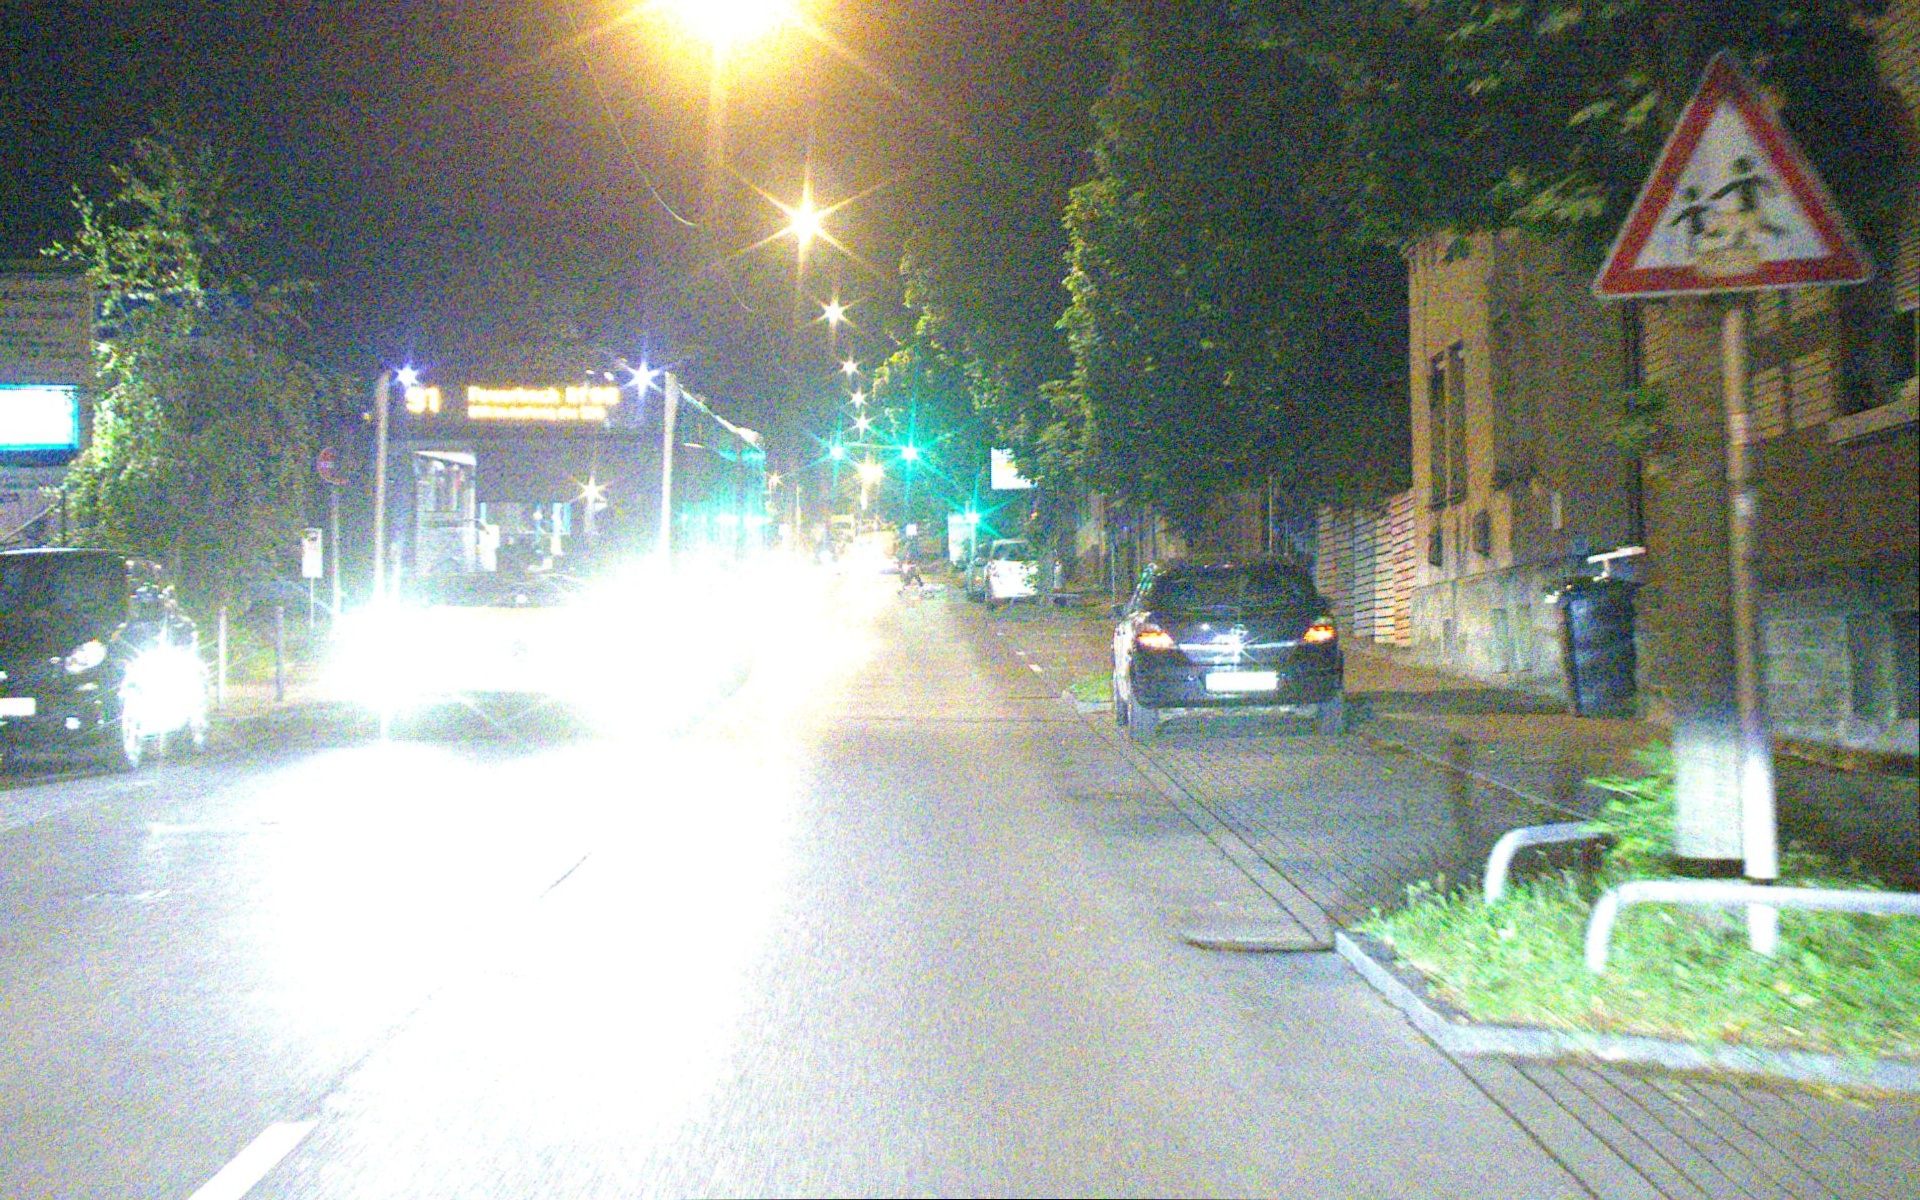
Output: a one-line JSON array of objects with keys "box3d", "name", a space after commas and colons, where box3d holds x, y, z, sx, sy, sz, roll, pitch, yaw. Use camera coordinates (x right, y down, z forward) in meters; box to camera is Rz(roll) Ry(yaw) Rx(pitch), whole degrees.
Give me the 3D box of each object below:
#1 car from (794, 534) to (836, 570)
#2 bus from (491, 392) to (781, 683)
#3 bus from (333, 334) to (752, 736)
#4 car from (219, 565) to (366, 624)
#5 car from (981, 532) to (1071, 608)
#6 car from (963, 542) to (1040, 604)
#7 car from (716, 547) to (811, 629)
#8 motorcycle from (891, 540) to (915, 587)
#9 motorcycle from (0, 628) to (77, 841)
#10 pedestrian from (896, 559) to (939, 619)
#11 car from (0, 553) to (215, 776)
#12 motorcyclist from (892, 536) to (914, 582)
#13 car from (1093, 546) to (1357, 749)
[{"box3d": [-7.088, -2.348, 168.391, 1.944, 1.711, 4.000, 0, 0, -1], "name": "car"}, {"box3d": [-3.764, -0.752, 41.623, 2.837, 3.166, 7.661, 0, 1, -1], "name": "bus"}, {"box3d": [-3.628, -0.608, 32.520, 2.837, 3.166, 10.499, 0, 1, -1], "name": "bus"}, {"box3d": [-16.665, -0.145, 85.828, 3.262, 1.448, 1.791, 0, 0, 32], "name": "car"}, {"box3d": [1.445, -0.689, 76.919, 1.812, 1.588, 4.274, -2, 1, -1], "name": "car"}, {"box3d": [1.074, -0.731, 90.462, 1.868, 1.521, 4.150, -2, 1, -1], "name": "car"}, {"box3d": [-3.638, -0.252, 64.147, 1.645, 1.417, 3.871, -2, 1, -2], "name": "car"}, {"box3d": [-2.187, -1.398, 132.038, 0.931, 1.746, 2.625, 0, 0, -1], "name": "motorcycle"}, {"box3d": [-6.001, 0.730, 19.238, 2.205, 1.127, 0.714, 0, 1, 32], "name": "motorcycle"}, {"box3d": [-1.223, -0.320, 99.910, 0.924, 1.694, 0.767, 2, 1, -29], "name": "pedestrian"}, {"box3d": [-6.421, 0.436, 24.391, 1.638, 1.493, 2.765, 0, 0, 1], "name": "car"}, {"box3d": [-2.190, -1.570, 132.171, 0.848, 1.746, 0.805, 0, 0, -1], "name": "motorcyclist"}, {"box3d": [2.105, 0.330, 28.297, 1.763, 1.471, 4.080, -2, 1, -1], "name": "car"}]
